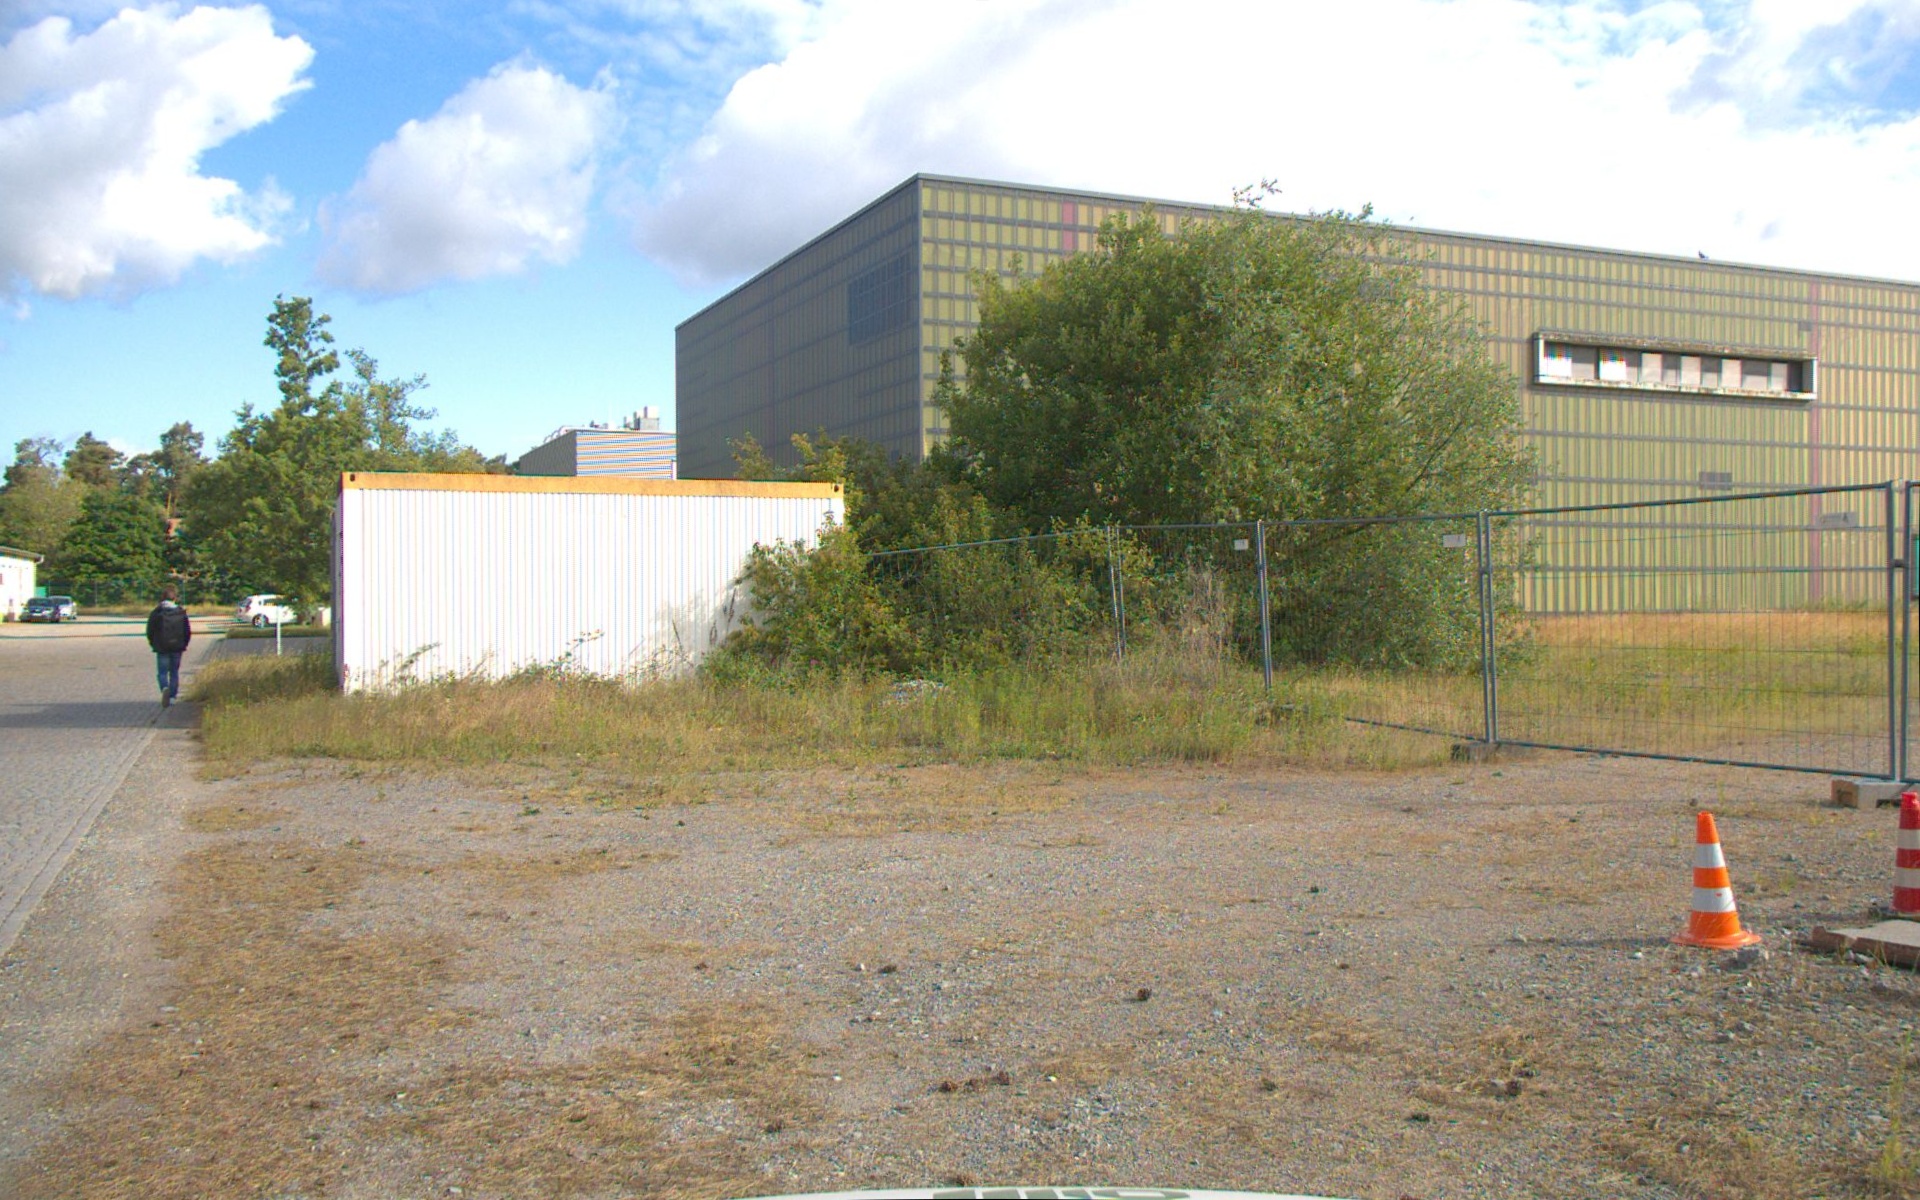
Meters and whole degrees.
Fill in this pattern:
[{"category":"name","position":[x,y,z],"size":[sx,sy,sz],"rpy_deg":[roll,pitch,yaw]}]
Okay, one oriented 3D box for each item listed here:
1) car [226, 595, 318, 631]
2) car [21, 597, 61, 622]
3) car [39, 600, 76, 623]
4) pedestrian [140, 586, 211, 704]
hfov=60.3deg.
[{"category":"car","position":[-33.057,0.599,79.546],"size":[3.927,1.671,1.989],"rpy_deg":[0,0,-19]},{"category":"car","position":[-53.548,0.544,96.381],"size":[1.973,1.395,3.959],"rpy_deg":[-1,0,-30]},{"category":"car","position":[-57.685,0.711,105.705],"size":[1.973,1.400,3.959],"rpy_deg":[0,0,-30]},{"category":"pedestrian","position":[-10.905,0.603,22.973],"size":[0.855,1.586,1.018],"rpy_deg":[0,0,-28]}]
